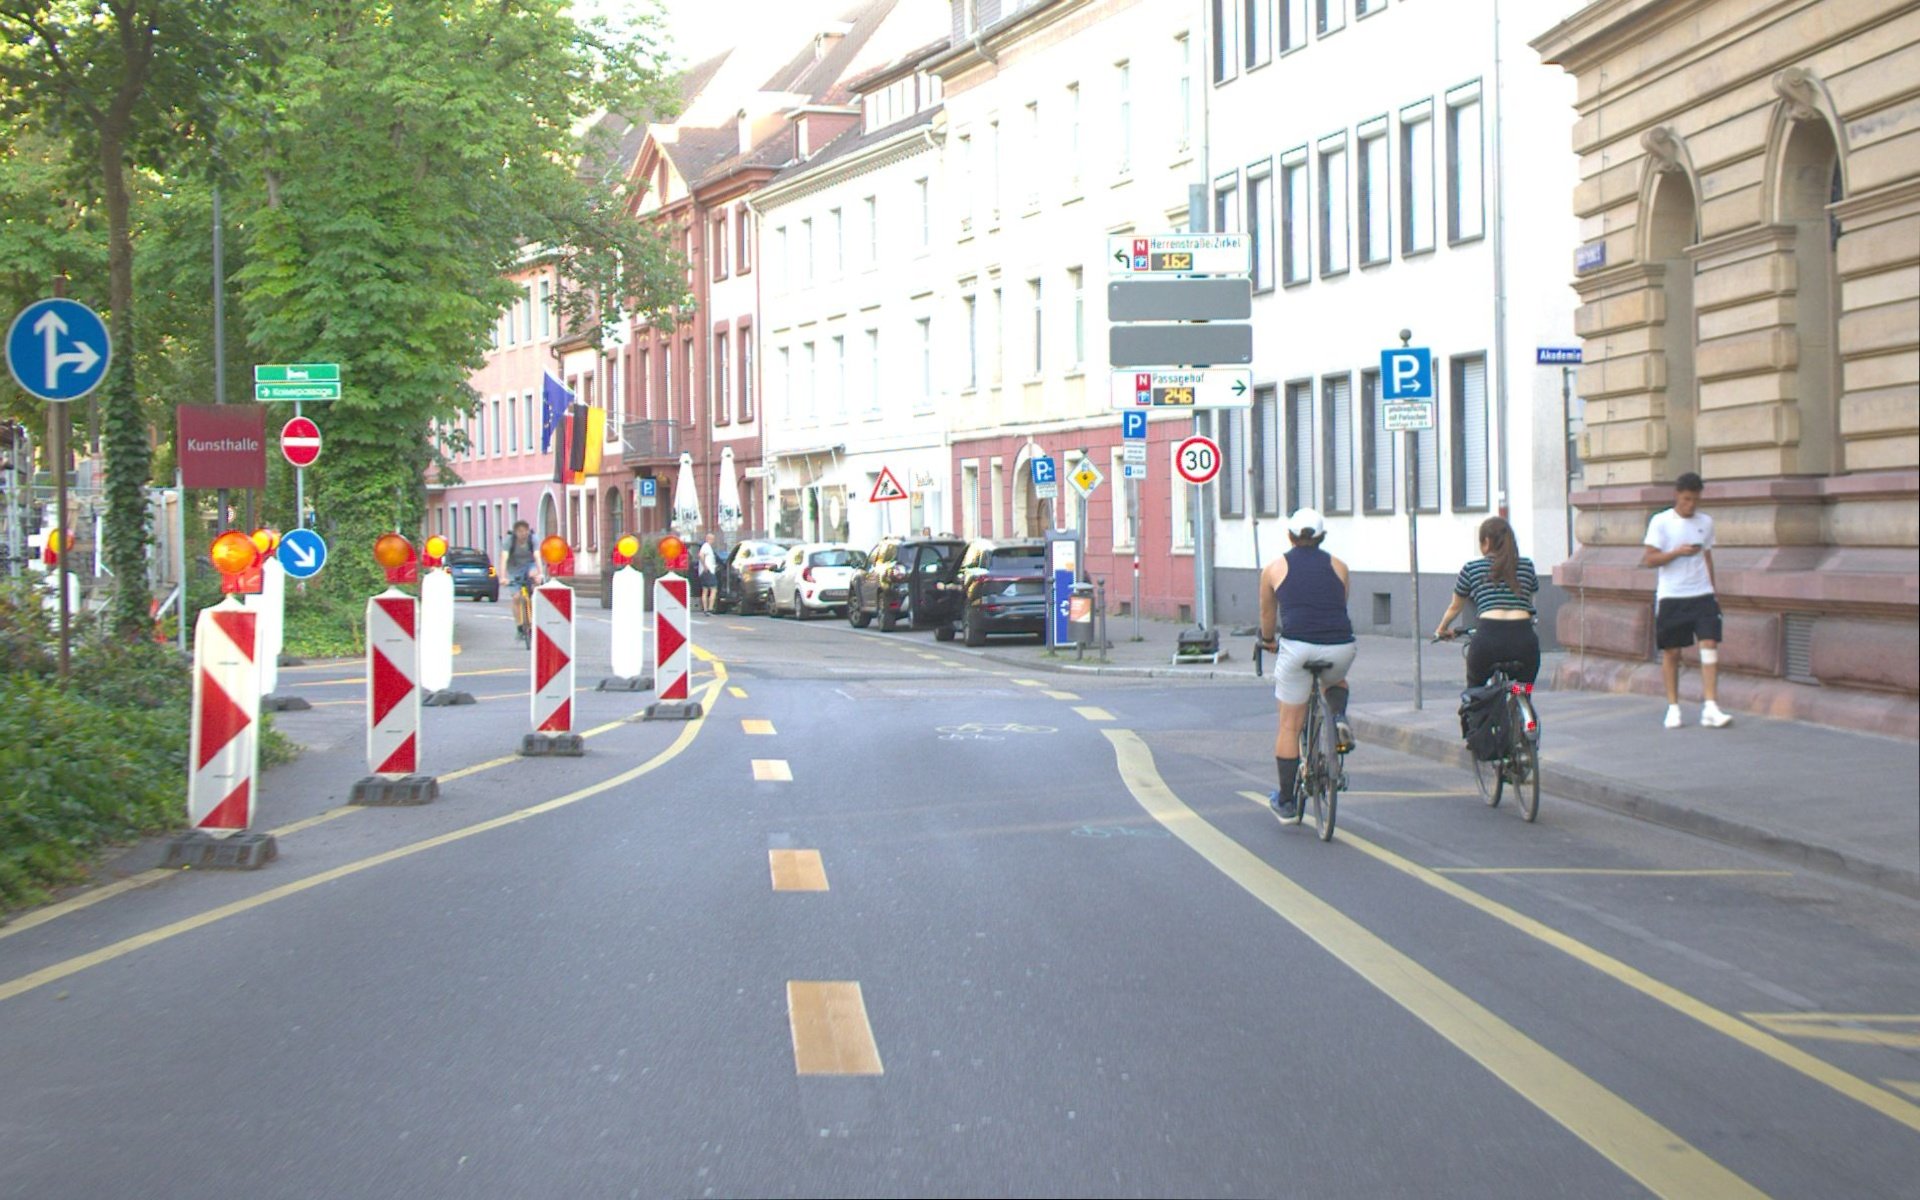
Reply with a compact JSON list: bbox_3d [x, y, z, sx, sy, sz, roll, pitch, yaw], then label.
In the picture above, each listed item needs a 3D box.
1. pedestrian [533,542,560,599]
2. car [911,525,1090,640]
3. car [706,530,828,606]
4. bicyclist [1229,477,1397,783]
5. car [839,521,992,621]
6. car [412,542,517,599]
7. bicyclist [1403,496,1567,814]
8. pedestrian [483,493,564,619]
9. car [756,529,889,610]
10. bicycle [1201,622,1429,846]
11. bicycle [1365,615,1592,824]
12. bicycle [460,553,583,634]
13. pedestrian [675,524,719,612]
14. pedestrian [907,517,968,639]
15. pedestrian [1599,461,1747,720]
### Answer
[{"bbox_3d":[-12.911,-0.933,107.355,0.750,1.756,0.586,-1,1,-17],"label":"pedestrian"},{"bbox_3d":[0.573,-0.289,52.459,1.812,1.676,3.920,-1,1,-14],"label":"car"},{"bbox_3d":[-4.115,-0.702,72.814,1.812,1.554,3.866,-1,1,-15],"label":"car"},{"bbox_3d":[1.839,0.150,17.993,0.668,1.560,0.699,1,1,-10],"label":"bicyclist"},{"bbox_3d":[-0.823,-0.531,60.567,1.812,1.678,4.001,-1,1,-14],"label":"car"},{"bbox_3d":[-13.790,-0.835,95.546,1.812,1.554,3.866,-1,1,-25],"label":"car"},{"bbox_3d":[2.965,0.294,19.478,0.649,1.754,0.864,1,1,-8],"label":"bicyclist"},{"bbox_3d":[-5.835,-0.593,45.998,0.736,1.668,0.894,0,1,19],"label":"pedestrian"},{"bbox_3d":[-2.764,-0.617,68.449,1.812,1.554,3.866,-1,1,-15],"label":"car"},{"bbox_3d":[1.833,0.674,18.034,0.669,1.067,1.902,1,1,-10],"label":"bicycle"},{"bbox_3d":[2.939,0.653,19.723,0.652,1.067,2.258,1,1,-8],"label":"bicycle"},{"bbox_3d":[-5.842,-0.093,45.961,0.761,1.034,2.119,0,1,19],"label":"bicycle"},{"bbox_3d":[-5.557,-0.684,72.782,0.831,1.838,0.958,0,1,1],"label":"pedestrian"},{"bbox_3d":[-0.349,-0.345,53.281,0.900,1.859,0.932,0,1,-3],"label":"pedestrian"},{"bbox_3d":[4.966,-0.080,24.004,0.817,1.759,1.038,0,1,1],"label":"pedestrian"}]
